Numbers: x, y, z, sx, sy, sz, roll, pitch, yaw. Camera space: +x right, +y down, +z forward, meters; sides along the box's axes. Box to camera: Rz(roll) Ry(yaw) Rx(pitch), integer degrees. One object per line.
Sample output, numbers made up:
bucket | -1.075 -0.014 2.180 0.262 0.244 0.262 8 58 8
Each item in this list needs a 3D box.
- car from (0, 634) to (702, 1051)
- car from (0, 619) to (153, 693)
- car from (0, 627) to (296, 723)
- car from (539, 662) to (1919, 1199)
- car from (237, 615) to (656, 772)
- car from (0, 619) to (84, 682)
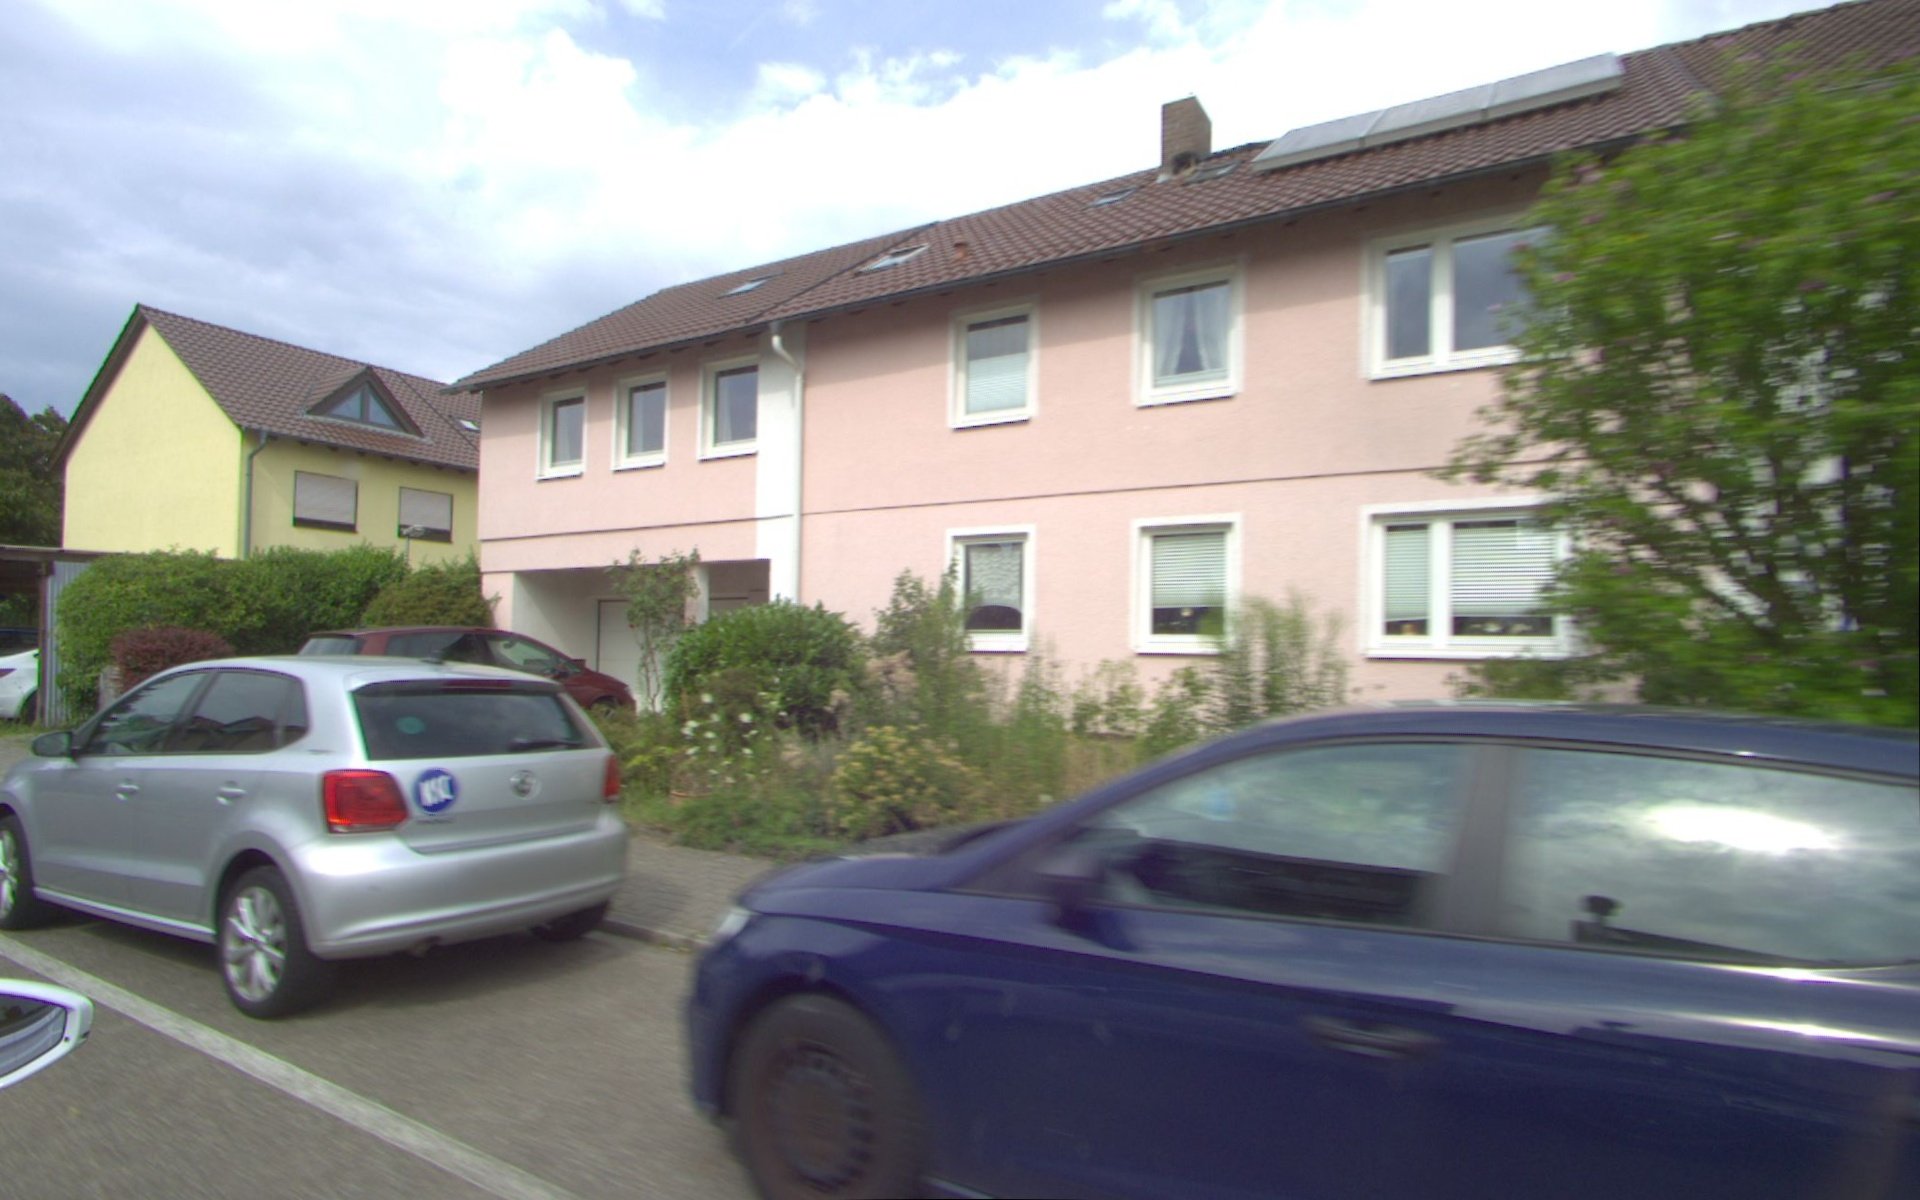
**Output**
car | -3.642 0.953 5.449 4.188 1.434 1.864 0 -3 29
car | -20.502 1.198 21.867 1.920 1.542 4.045 0 -2 29
car | -14.493 1.237 17.444 1.996 1.451 4.447 0 -2 29
car | 0.990 0.919 2.638 4.204 1.373 1.770 0 -2 32
car | -6.106 1.032 12.449 1.907 1.580 4.264 0 -2 32
car | -24.469 1.222 24.679 1.811 1.559 3.956 0 -2 29
